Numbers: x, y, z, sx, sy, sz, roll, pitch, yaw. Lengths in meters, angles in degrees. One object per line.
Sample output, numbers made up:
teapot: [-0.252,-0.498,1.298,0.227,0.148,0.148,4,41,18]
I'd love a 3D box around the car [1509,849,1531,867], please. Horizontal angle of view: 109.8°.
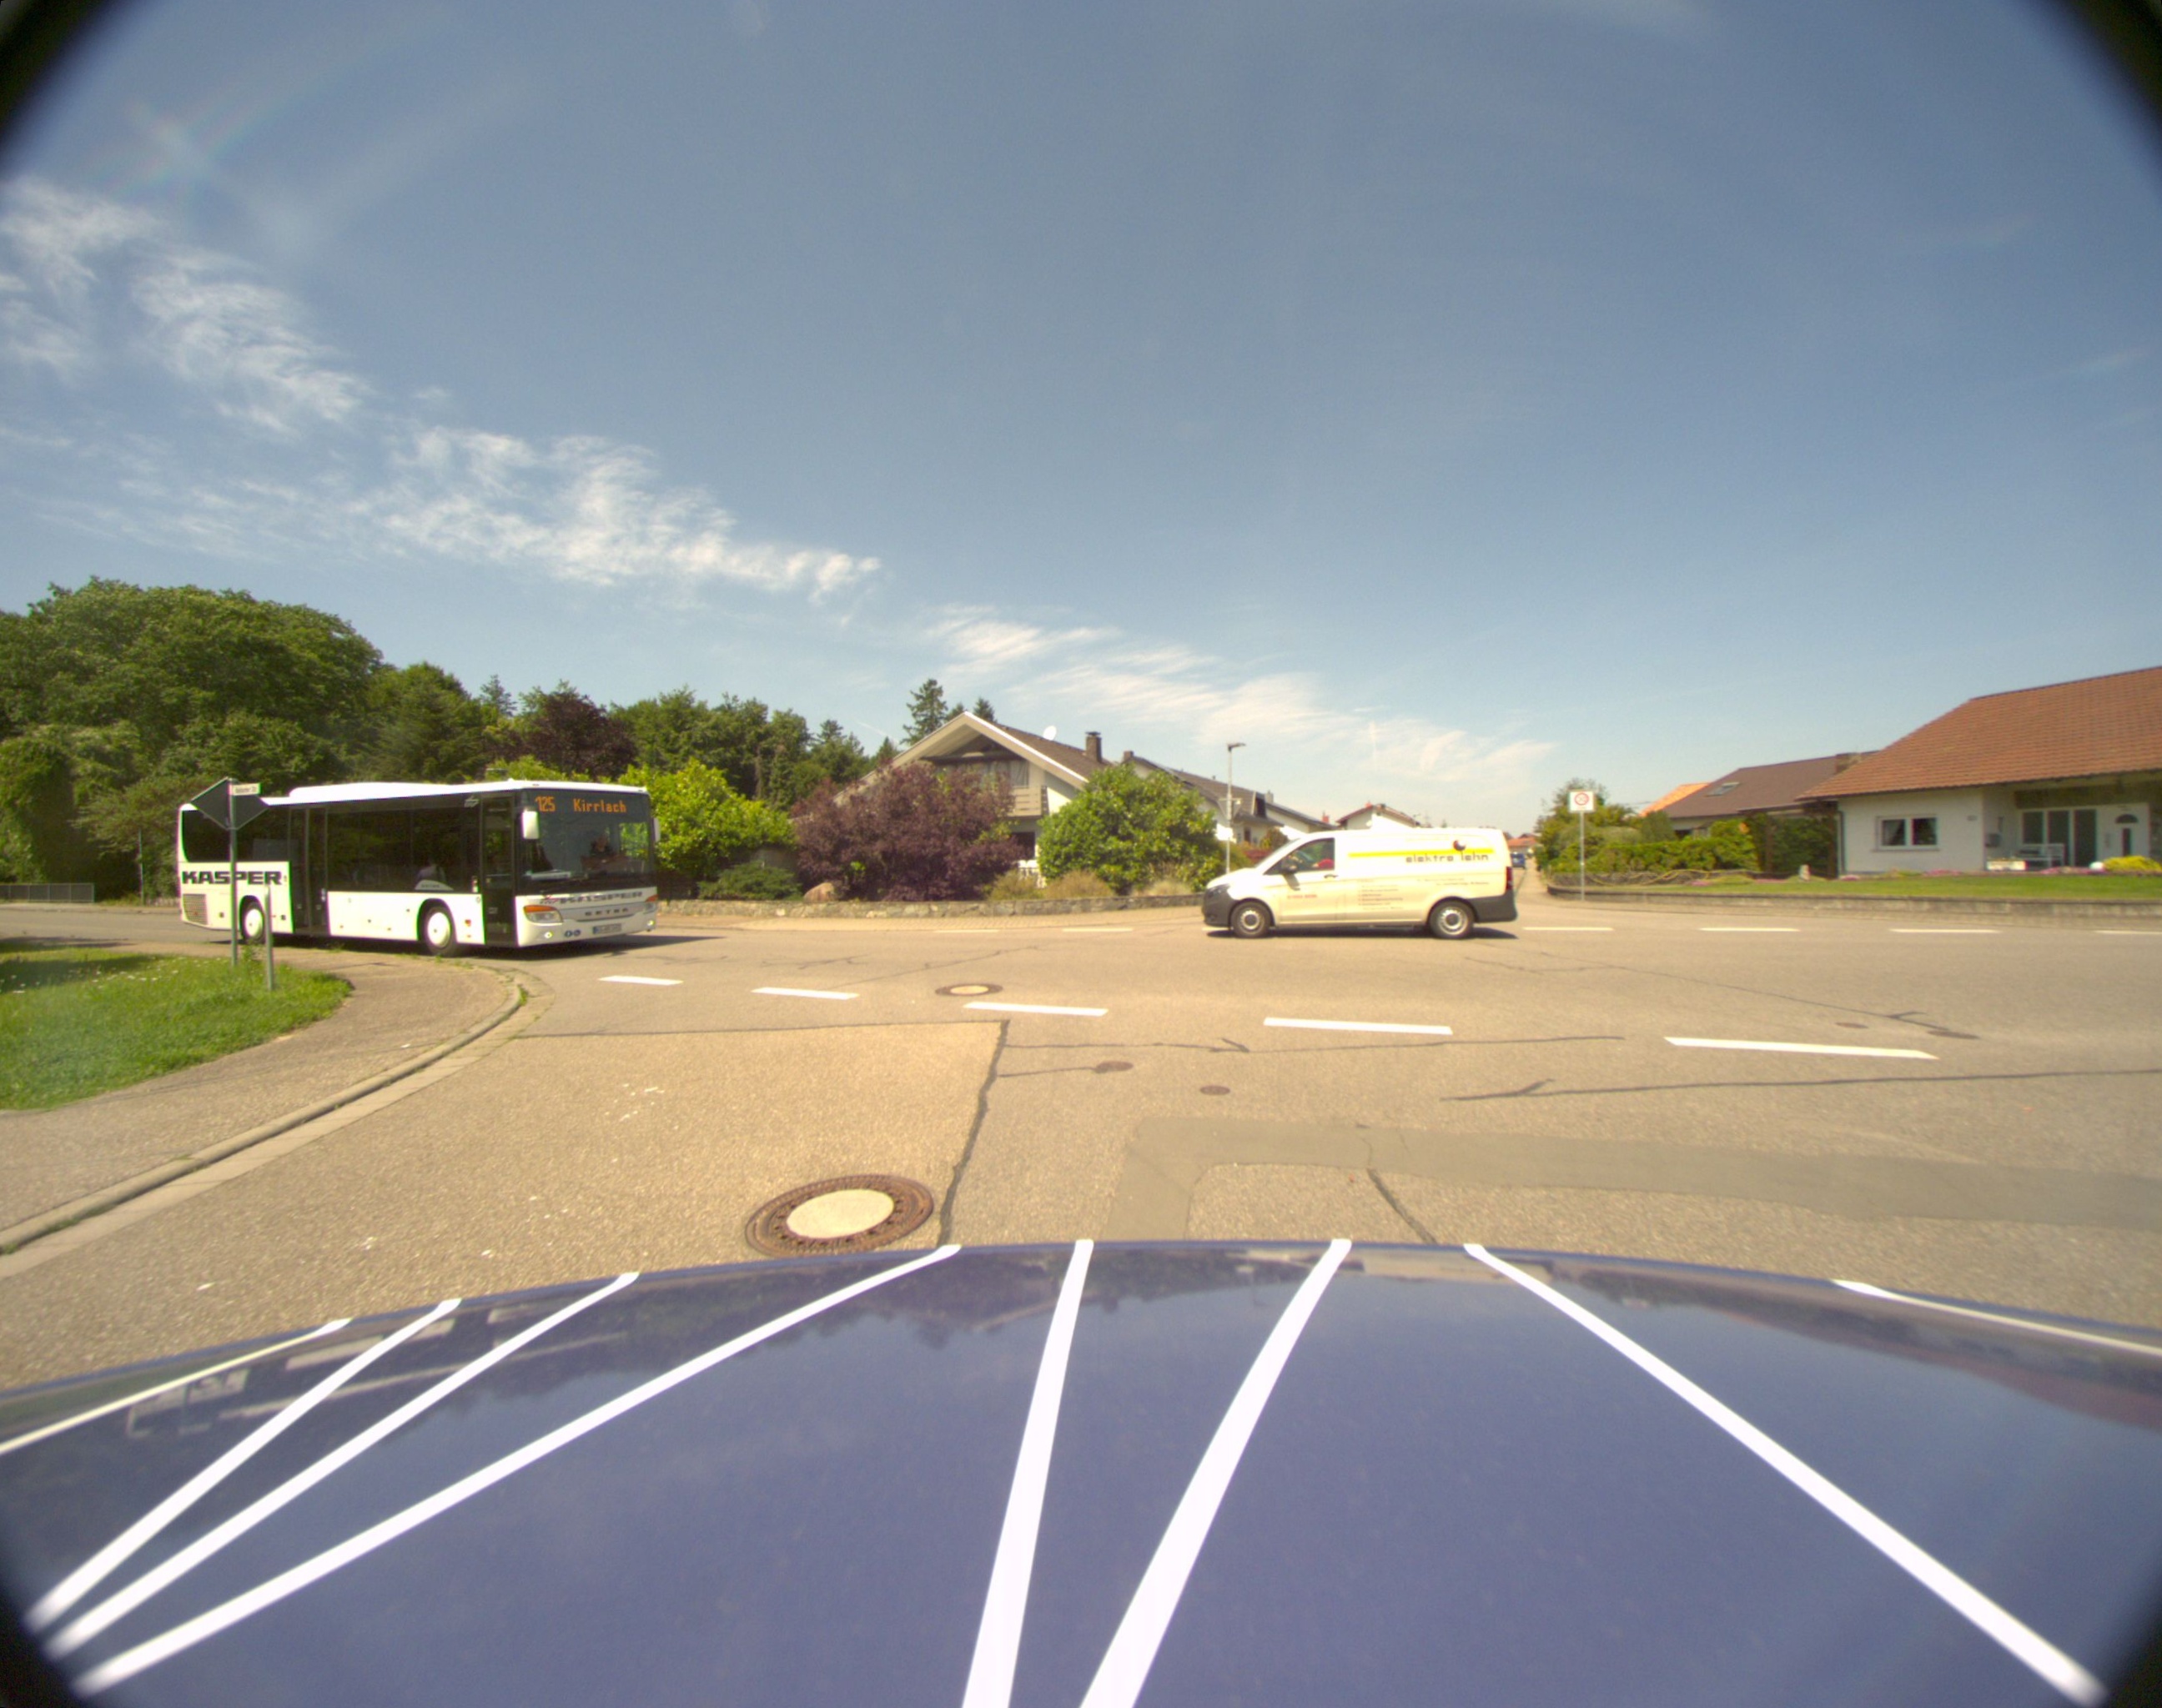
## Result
car: [47.166,0.442,81.598,1.823,1.871,4.008,-1,0,32]

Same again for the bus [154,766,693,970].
bus: [-14.162,0.338,15.970,12.681,3.225,3.197,-1,0,23]

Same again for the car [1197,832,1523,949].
car: [4.721,0.620,13.537,5.059,1.845,2.022,-1,0,14]

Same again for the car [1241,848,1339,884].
car: [11.529,0.676,41.922,4.954,1.904,1.932,-1,0,24]
